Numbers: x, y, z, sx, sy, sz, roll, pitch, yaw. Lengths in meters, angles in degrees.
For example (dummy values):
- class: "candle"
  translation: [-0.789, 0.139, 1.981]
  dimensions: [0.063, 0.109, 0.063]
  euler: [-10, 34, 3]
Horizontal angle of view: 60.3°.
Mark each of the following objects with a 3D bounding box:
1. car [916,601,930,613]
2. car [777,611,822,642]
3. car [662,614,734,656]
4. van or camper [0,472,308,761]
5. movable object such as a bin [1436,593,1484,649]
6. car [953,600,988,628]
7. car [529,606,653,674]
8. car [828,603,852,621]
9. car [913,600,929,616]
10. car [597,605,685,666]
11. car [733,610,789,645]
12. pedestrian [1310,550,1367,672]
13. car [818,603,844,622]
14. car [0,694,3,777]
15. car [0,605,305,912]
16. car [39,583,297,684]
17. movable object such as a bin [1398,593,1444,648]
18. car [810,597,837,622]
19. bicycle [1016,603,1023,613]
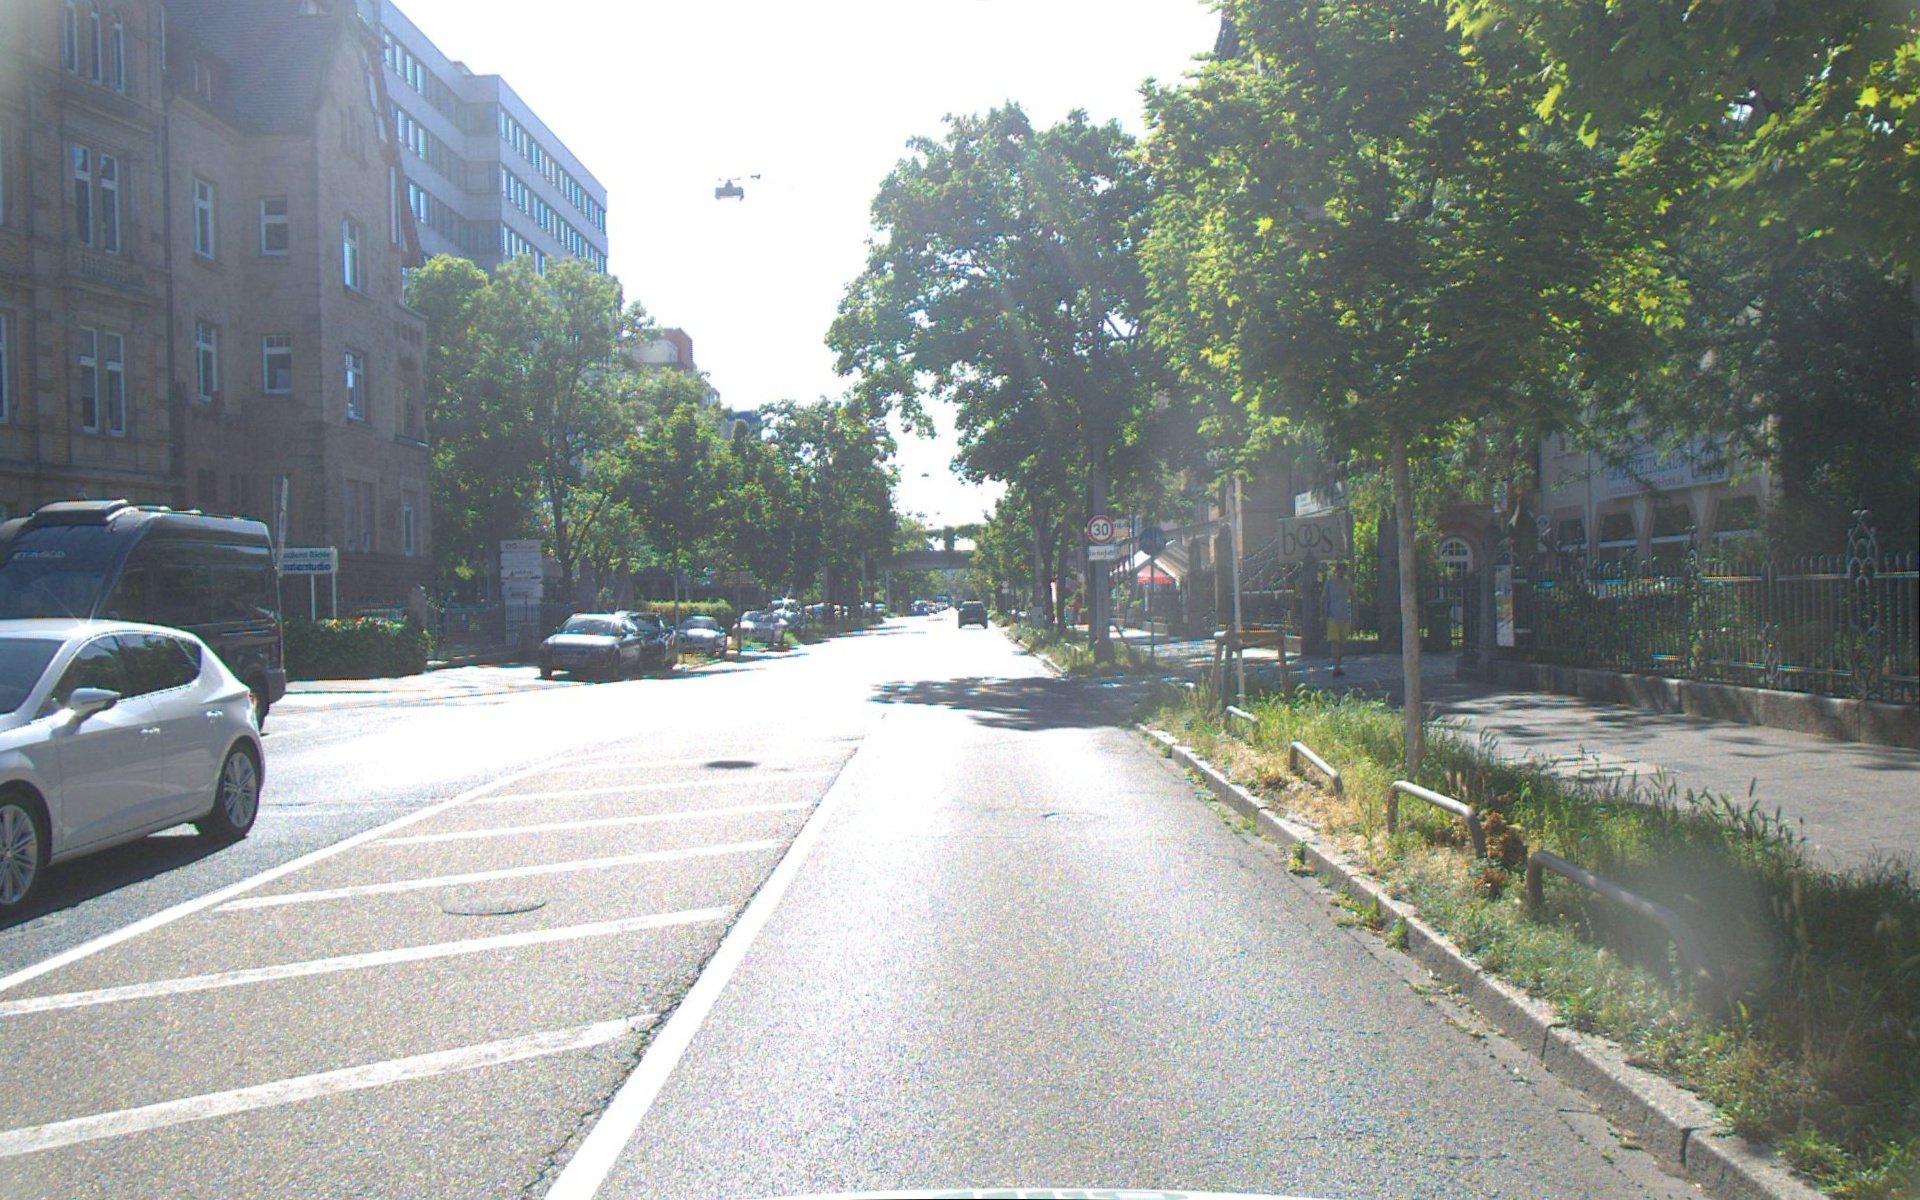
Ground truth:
- class: "car"
  translation: [-5.149, 1.021, 231.567]
  dimensions: [1.818, 1.595, 4.714]
  euler: [-2, 0, -1]
- class: "car"
  translation: [-7.822, 1.282, 80.841]
  dimensions: [1.676, 1.484, 4.073]
  euler: [0, 0, 2]
- class: "car"
  translation: [-8.424, 1.100, 53.479]
  dimensions: [1.644, 1.277, 4.015]
  euler: [0, 0, 1]
- class: "van or camper"
  translation: [-9.815, 0.171, 19.043]
  dimensions: [2.171, 2.787, 6.088]
  euler: [-1, 0, 0]
- class: "movable object such as a bin"
  translation: [9.181, 0.384, 30.383]
  dimensions: [0.612, 0.982, 0.667]
  euler: [-3, 0, -1]
- class: "car"
  translation: [0.585, 0.793, 97.682]
  dimensions: [1.944, 1.628, 4.139]
  euler: [0, 0, -1]
- class: "car"
  translation: [-8.883, 0.932, 40.227]
  dimensions: [1.818, 1.452, 4.720]
  euler: [3, 0, 1]
- class: "car"
  translation: [-10.627, 1.040, 146.816]
  dimensions: [1.818, 1.549, 4.318]
  euler: [0, 0, -1]
- class: "car"
  translation: [-4.645, 0.947, 197.889]
  dimensions: [1.818, 1.857, 4.609]
  euler: [-2, 0, -1]
- class: "car"
  translation: [-8.763, 0.937, 45.807]
  dimensions: [1.819, 1.520, 4.701]
  euler: [2, 0, -5]
- class: "car"
  translation: [-8.287, 1.122, 69.182]
  dimensions: [1.653, 1.407, 4.192]
  euler: [0, 0, 3]
- class: "pedestrian"
  translation: [5.911, 0.166, 25.815]
  dimensions: [0.732, 1.818, 0.811]
  euler: [-4, 0, 14]
- class: "car"
  translation: [-10.683, 1.009, 137.337]
  dimensions: [1.817, 1.595, 3.872]
  euler: [0, 0, 1]
- class: "car"
  translation: [-9.481, 0.888, 12.564]
  dimensions: [1.659, 1.482, 4.663]
  euler: [-3, 0, 0]
- class: "car"
  translation: [-5.515, 0.778, 9.433]
  dimensions: [1.879, 1.444, 4.225]
  euler: [-1, 0, 0]
- class: "car"
  translation: [-14.733, 0.628, 30.821]
  dimensions: [4.093, 1.699, 1.978]
  euler: [2, 1, -33]
- class: "movable object such as a bin"
  translation: [8.477, 0.373, 30.421]
  dimensions: [0.612, 0.982, 0.667]
  euler: [-3, 0, -1]
- class: "car"
  translation: [-10.669, 0.726, 129.245]
  dimensions: [1.818, 1.882, 4.561]
  euler: [0, 0, -1]
- class: "bicycle"
  translation: [5.968, 0.809, 166.473]
  dimensions: [0.577, 1.045, 1.859]
  euler: [-1, -1, -1]
